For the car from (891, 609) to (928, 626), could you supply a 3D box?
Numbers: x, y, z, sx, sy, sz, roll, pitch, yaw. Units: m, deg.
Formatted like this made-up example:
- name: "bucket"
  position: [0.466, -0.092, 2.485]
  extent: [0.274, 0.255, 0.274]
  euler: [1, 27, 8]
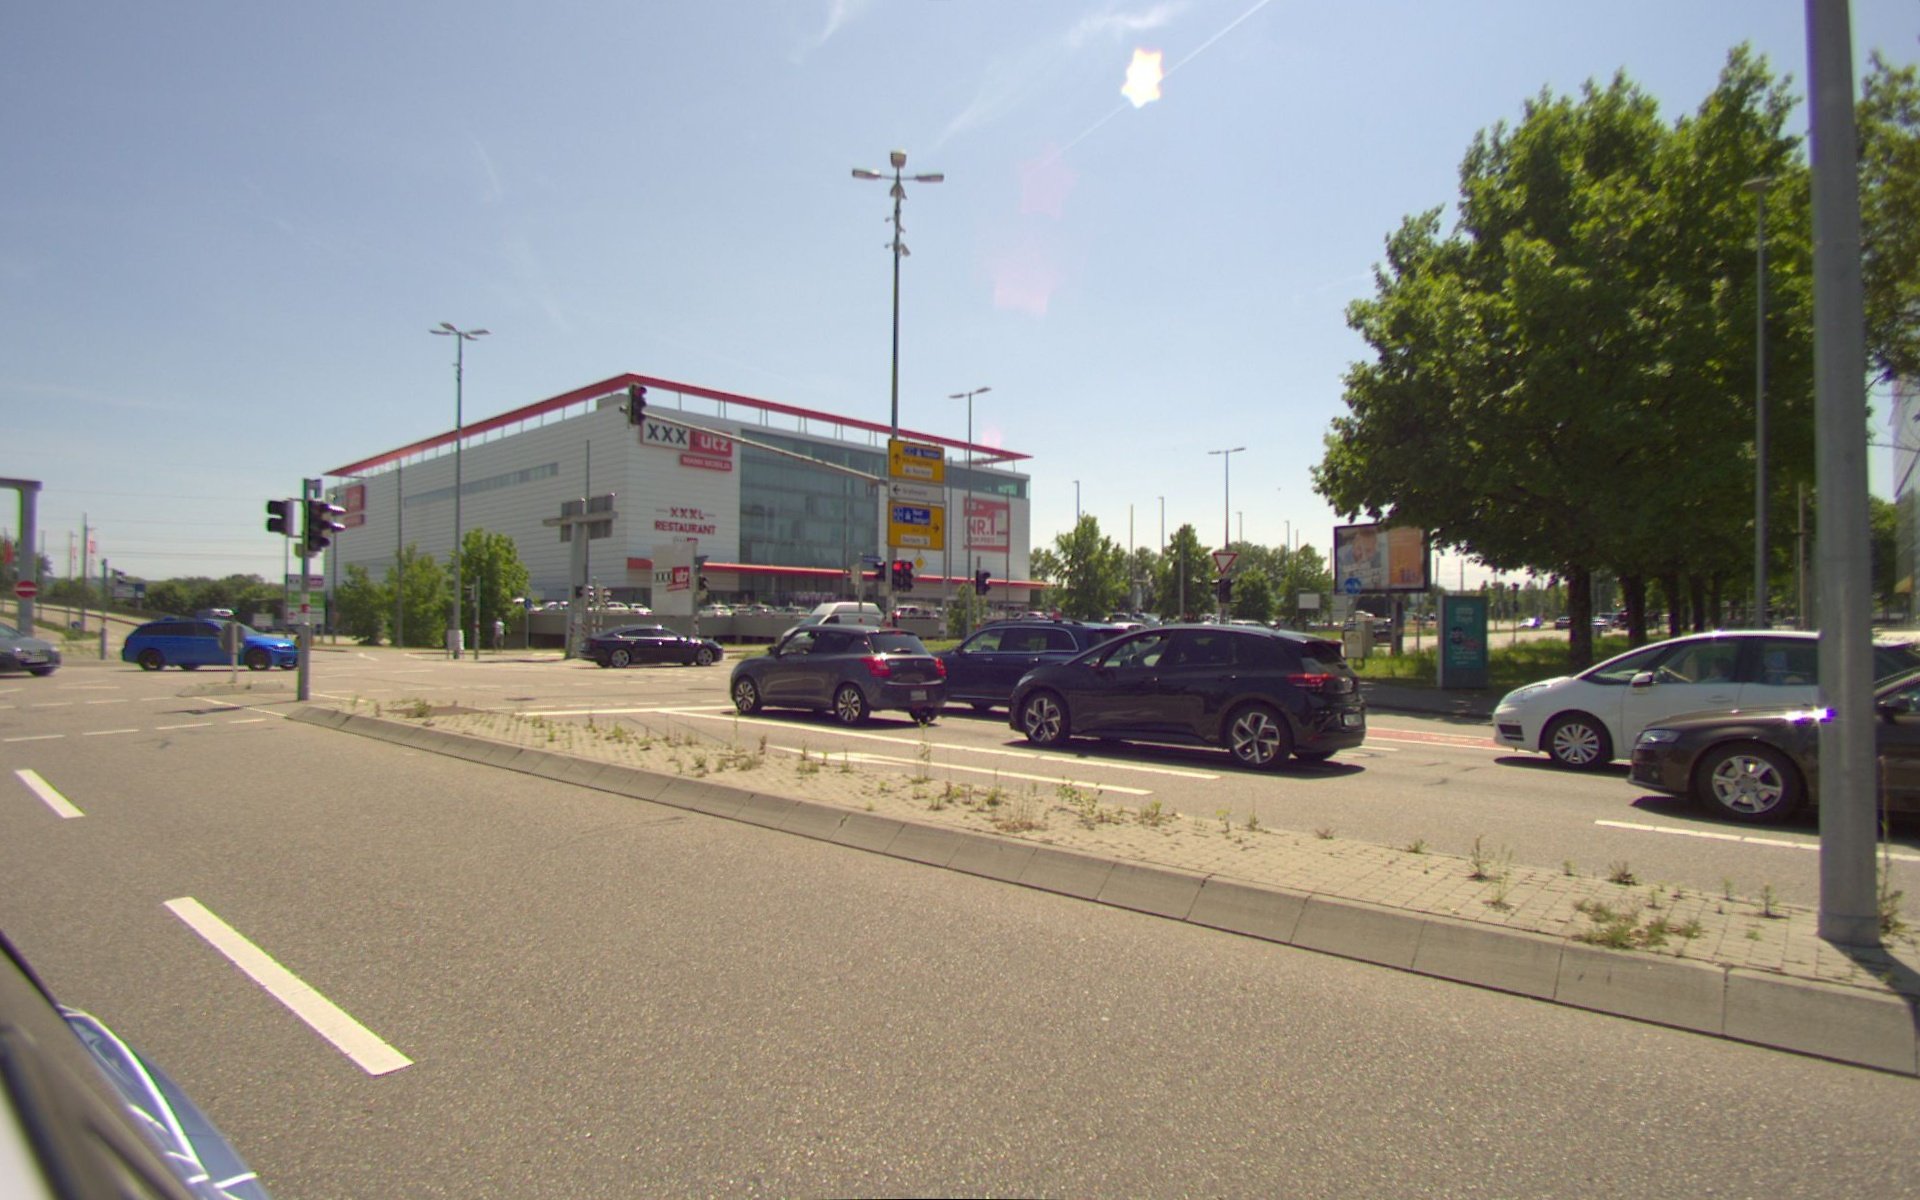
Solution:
- name: "car"
  position: [-5.652, 2.011, 113.587]
  extent: [3.999, 1.915, 1.972]
  euler: [-2, -2, 42]

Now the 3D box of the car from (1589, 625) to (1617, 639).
- name: "car"
  position: [72.912, 3.613, 114.738]
  extent: [2.000, 1.564, 3.943]
  euler: [-1, -2, 43]

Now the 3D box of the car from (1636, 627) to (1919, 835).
- name: "car"
  position: [7.900, 0.988, 7.425]
  extent: [4.718, 1.457, 1.708]
  euler: [0, -3, 42]

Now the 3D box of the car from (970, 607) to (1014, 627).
- name: "car"
  position: [3.309, 1.729, 105.125]
  extent: [4.328, 2.029, 1.972]
  euler: [-1, -2, 42]

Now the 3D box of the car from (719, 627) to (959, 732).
- name: "car"
  position: [-1.949, 1.164, 15.747]
  extent: [3.714, 1.399, 1.626]
  euler: [0, -3, 42]

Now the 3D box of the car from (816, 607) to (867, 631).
- name: "car"
  position: [-10.358, 1.699, 88.228]
  extent: [4.322, 2.029, 1.975]
  euler: [-1, -2, 37]

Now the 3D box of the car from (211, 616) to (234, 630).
- name: "car"
  position: [-121.019, 3.808, 165.998]
  extent: [4.814, 2.300, 2.162]
  euler: [-2, -2, 44]

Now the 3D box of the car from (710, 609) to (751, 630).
- name: "car"
  position: [-22.352, 1.887, 98.438]
  extent: [4.133, 2.029, 1.759]
  euler: [-1, -2, 42]

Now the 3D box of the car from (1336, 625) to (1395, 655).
- name: "car"
  position: [25.304, 2.505, 63.093]
  extent: [1.803, 1.452, 4.492]
  euler: [-8, -11, 42]

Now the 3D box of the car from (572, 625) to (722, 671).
- name: "car"
  position: [-10.209, 1.561, 33.100]
  extent: [4.391, 1.415, 1.681]
  euler: [2, -3, -33]

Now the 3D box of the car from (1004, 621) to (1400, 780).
- name: "car"
  position: [2.709, 1.050, 11.927]
  extent: [4.242, 1.517, 1.708]
  euler: [0, -3, 42]

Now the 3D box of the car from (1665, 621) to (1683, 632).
- name: "car"
  position: [98.744, 3.667, 139.985]
  extent: [1.554, 1.564, 3.371]
  euler: [-1, -2, 44]

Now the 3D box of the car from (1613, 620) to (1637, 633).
- name: "car"
  position: [83.502, 3.304, 127.101]
  extent: [1.999, 1.564, 3.945]
  euler: [-1, -2, 41]

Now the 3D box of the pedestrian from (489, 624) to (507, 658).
- name: "pedestrian"
  position: [-24.563, 2.192, 53.772]
  extent: [0.596, 1.797, 0.827]
  euler: [2, -2, -44]

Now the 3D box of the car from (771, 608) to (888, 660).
- name: "car"
  position: [-5.773, 1.501, 45.220]
  extent: [4.974, 2.200, 2.001]
  euler: [2, -3, -45]

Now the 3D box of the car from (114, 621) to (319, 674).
- name: "car"
  position: [-20.835, 1.344, 28.492]
  extent: [4.365, 1.414, 1.772]
  euler: [1, -2, -3]

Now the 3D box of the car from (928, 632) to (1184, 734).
- name: "car"
  position: [1.515, 1.293, 16.817]
  extent: [4.036, 1.435, 1.643]
  euler: [0, -2, 41]

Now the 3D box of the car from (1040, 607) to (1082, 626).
- name: "car"
  position: [11.208, 1.815, 112.008]
  extent: [4.328, 2.029, 1.972]
  euler: [-1, -2, 42]

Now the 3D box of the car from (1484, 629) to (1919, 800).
- name: "car"
  position: [8.260, 1.143, 11.401]
  extent: [3.913, 1.556, 1.709]
  euler: [0, -2, 41]

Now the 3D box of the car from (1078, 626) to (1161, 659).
- name: "car"
  position: [7.369, 1.935, 46.633]
  extent: [1.794, 1.447, 4.011]
  euler: [-3, -3, 44]

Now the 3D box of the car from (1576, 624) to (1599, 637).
- name: "car"
  position: [76.511, 3.739, 123.331]
  extent: [1.646, 1.564, 3.371]
  euler: [-1, -2, 44]

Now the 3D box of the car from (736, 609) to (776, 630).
- name: "car"
  position: [-20.218, 1.967, 100.099]
  extent: [4.133, 2.029, 1.759]
  euler: [-1, -2, 42]

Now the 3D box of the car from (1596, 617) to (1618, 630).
- name: "car"
  position: [86.547, 3.177, 135.290]
  extent: [1.853, 1.638, 3.744]
  euler: [-1, -2, 43]

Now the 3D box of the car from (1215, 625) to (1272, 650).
- name: "car"
  position: [17.002, 2.248, 60.524]
  extent: [1.697, 1.433, 3.953]
  euler: [-3, -4, 42]

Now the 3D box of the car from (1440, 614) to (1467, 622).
- name: "car"
  position: [85.936, 3.114, 176.187]
  extent: [3.997, 1.433, 1.679]
  euler: [-1, -2, 33]

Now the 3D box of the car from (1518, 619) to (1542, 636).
- name: "car"
  position: [71.748, 3.472, 127.442]
  extent: [1.816, 2.029, 3.944]
  euler: [-2, -2, 42]

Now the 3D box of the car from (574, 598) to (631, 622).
- name: "car"
  position: [-31.267, 0.883, 88.551]
  extent: [1.679, 2.029, 4.411]
  euler: [-2, -2, 43]

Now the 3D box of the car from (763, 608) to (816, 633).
- name: "car"
  position: [-14.212, 1.732, 84.225]
  extent: [4.323, 2.029, 1.975]
  euler: [-1, -2, 38]

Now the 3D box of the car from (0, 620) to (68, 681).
- name: "car"
  position: [-23.860, 1.179, 24.206]
  extent: [4.049, 1.393, 1.763]
  euler: [0, -2, 14]

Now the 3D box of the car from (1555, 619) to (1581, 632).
- name: "car"
  position: [71.512, 3.006, 119.047]
  extent: [1.926, 1.564, 3.555]
  euler: [-1, -2, 44]

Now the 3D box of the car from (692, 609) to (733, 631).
- name: "car"
  position: [-23.678, 1.920, 96.798]
  extent: [4.232, 2.029, 1.759]
  euler: [-1, -2, 42]
